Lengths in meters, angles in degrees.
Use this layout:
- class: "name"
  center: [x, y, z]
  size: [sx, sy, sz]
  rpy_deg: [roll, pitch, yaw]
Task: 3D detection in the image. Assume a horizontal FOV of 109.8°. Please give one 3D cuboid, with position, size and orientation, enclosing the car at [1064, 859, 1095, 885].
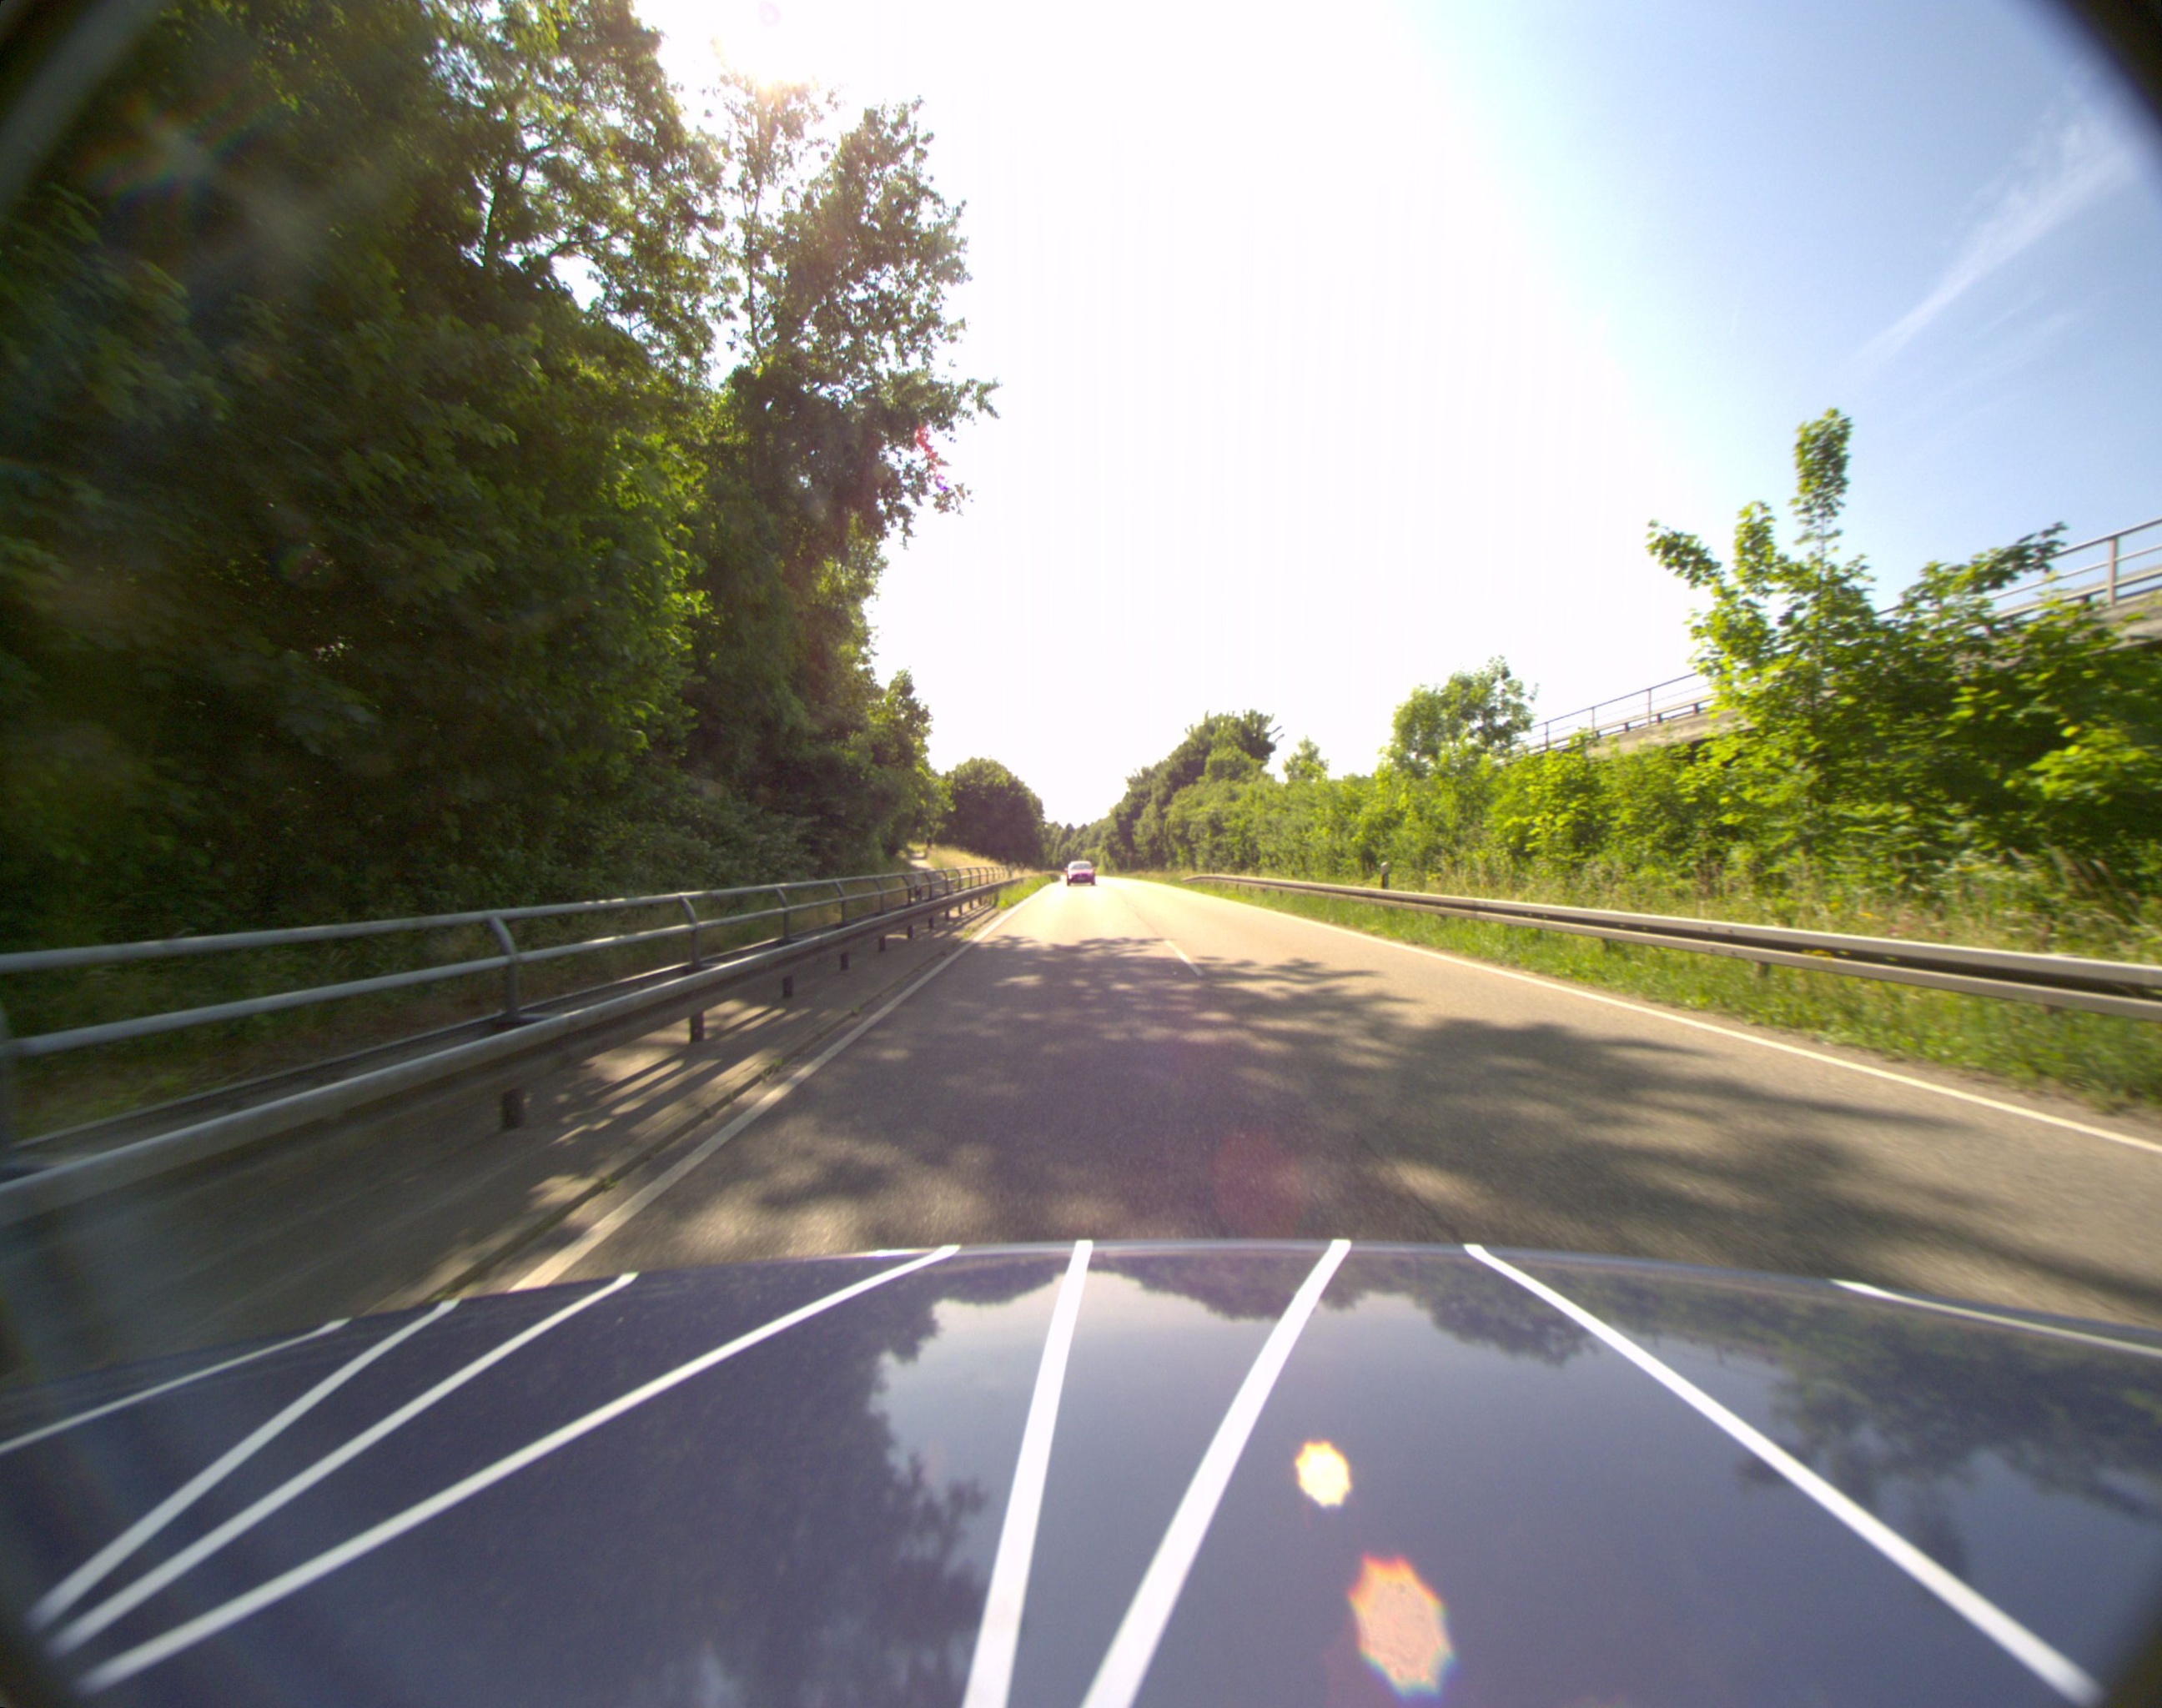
- class: "car"
  center: [-0.114, 1.090, 47.248]
  size: [1.817, 1.487, 4.286]
  rpy_deg: [-1, -1, -1]

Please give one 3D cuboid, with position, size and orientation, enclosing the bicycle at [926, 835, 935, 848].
- class: "bicycle"
  center: [-15.404, -1.290, 78.006]
  size: [0.773, 1.311, 1.727]
  rpy_deg: [-2, 0, -9]

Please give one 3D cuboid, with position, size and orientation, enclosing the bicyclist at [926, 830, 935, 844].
- class: "bicyclist"
  center: [-15.429, -1.726, 78.017]
  size: [0.773, 1.416, 0.817]
  rpy_deg: [-2, 0, -9]
